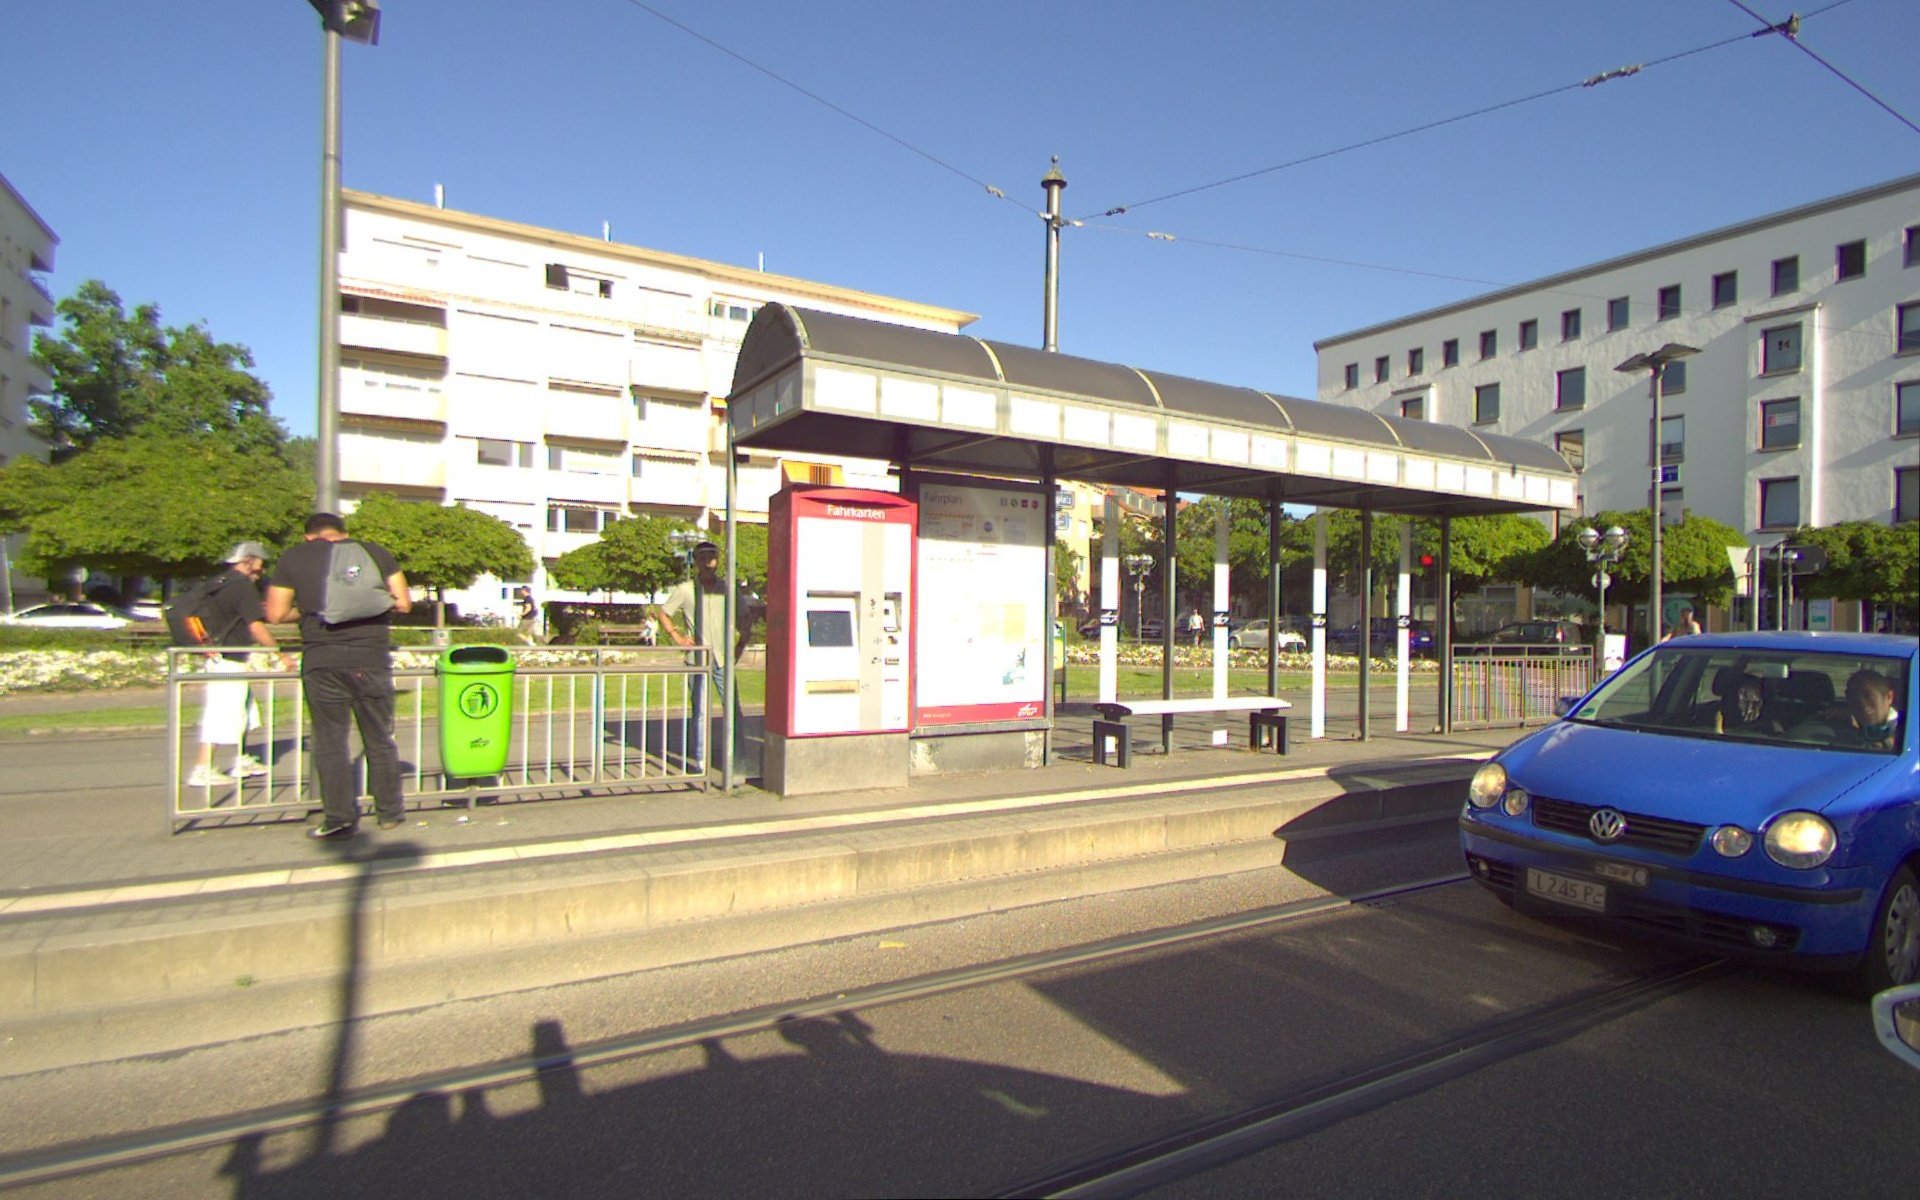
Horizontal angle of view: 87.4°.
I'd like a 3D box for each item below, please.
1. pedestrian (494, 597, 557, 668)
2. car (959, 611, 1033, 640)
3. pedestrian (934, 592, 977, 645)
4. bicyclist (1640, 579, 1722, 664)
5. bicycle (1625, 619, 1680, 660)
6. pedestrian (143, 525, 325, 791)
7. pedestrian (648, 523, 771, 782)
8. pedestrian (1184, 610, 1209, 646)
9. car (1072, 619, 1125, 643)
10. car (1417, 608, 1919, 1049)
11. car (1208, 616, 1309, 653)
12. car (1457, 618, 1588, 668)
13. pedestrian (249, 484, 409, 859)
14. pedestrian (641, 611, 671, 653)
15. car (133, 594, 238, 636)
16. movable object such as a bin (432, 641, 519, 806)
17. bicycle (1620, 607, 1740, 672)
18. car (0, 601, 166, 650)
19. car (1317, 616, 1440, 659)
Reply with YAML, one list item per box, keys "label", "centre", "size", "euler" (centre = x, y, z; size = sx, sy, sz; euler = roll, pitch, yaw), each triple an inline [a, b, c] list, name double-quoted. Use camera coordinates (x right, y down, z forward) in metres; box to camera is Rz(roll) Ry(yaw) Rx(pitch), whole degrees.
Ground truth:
- label: "pedestrian"
  centre: [-11.383, 0.842, 26.347]
  size: [1.153, 1.811, 1.081]
  euler: [1, 0, 0]
- label: "car"
  centre: [1.772, 1.275, 49.491]
  size: [3.271, 1.372, 1.638]
  euler: [1, -1, -29]
- label: "pedestrian"
  centre: [-0.191, 0.739, 39.470]
  size: [1.219, 2.040, 1.214]
  euler: [1, -1, -30]
- label: "bicyclist"
  centre: [13.019, 0.383, 18.153]
  size: [0.863, 1.475, 0.827]
  euler: [2, 0, -18]
- label: "bicycle"
  centre: [27.956, 1.594, 40.550]
  size: [2.585, 1.628, 0.616]
  euler: [1, -1, -26]
- label: "pedestrian"
  centre: [-5.104, 0.390, 7.121]
  size: [0.964, 1.702, 0.987]
  euler: [1, -2, -35]
- label: "pedestrian"
  centre: [-1.861, 0.383, 7.440]
  size: [0.760, 1.797, 0.613]
  euler: [1, -3, -28]
- label: "pedestrian"
  centre: [12.010, 1.415, 51.067]
  size: [0.856, 1.841, 0.944]
  euler: [1, 0, -19]
- label: "car"
  centre: [9.283, 2.049, 66.998]
  size: [1.887, 1.514, 4.343]
  euler: [2, 0, 31]
- label: "car"
  centre: [4.343, 0.832, 5.215]
  size: [3.955, 1.507, 1.658]
  euler: [1, -1, -31]
- label: "car"
  centre: [14.200, 1.634, 47.985]
  size: [1.835, 1.628, 4.581]
  euler: [1, -1, -31]
- label: "car"
  centre: [21.138, 1.593, 37.887]
  size: [1.804, 1.728, 3.968]
  euler: [1, -1, -30]
- label: "pedestrian"
  centre: [-3.143, 0.344, 5.057]
  size: [0.599, 1.740, 0.546]
  euler: [1, -3, -28]
- label: "pedestrian"
  centre: [-10.188, 1.054, 33.651]
  size: [0.672, 1.378, 1.042]
  euler: [1, -1, -34]
- label: "car"
  centre: [-28.682, 0.564, 37.292]
  size: [2.899, 1.506, 1.407]
  euler: [1, -1, -30]
- label: "movable object such as a bin"
  centre: [-2.704, 0.672, 5.612]
  size: [0.411, 0.871, 0.335]
  euler: [1, -1, -27]
- label: "bicycle"
  centre: [13.017, 0.712, 18.161]
  size: [1.945, 1.128, 0.727]
  euler: [2, 0, -18]
- label: "car"
  centre: [-25.510, 0.731, 29.068]
  size: [3.672, 1.318, 1.984]
  euler: [1, -1, -30]
- label: "car"
  centre: [17.841, 1.574, 43.035]
  size: [1.978, 1.684, 4.581]
  euler: [1, -1, -31]
